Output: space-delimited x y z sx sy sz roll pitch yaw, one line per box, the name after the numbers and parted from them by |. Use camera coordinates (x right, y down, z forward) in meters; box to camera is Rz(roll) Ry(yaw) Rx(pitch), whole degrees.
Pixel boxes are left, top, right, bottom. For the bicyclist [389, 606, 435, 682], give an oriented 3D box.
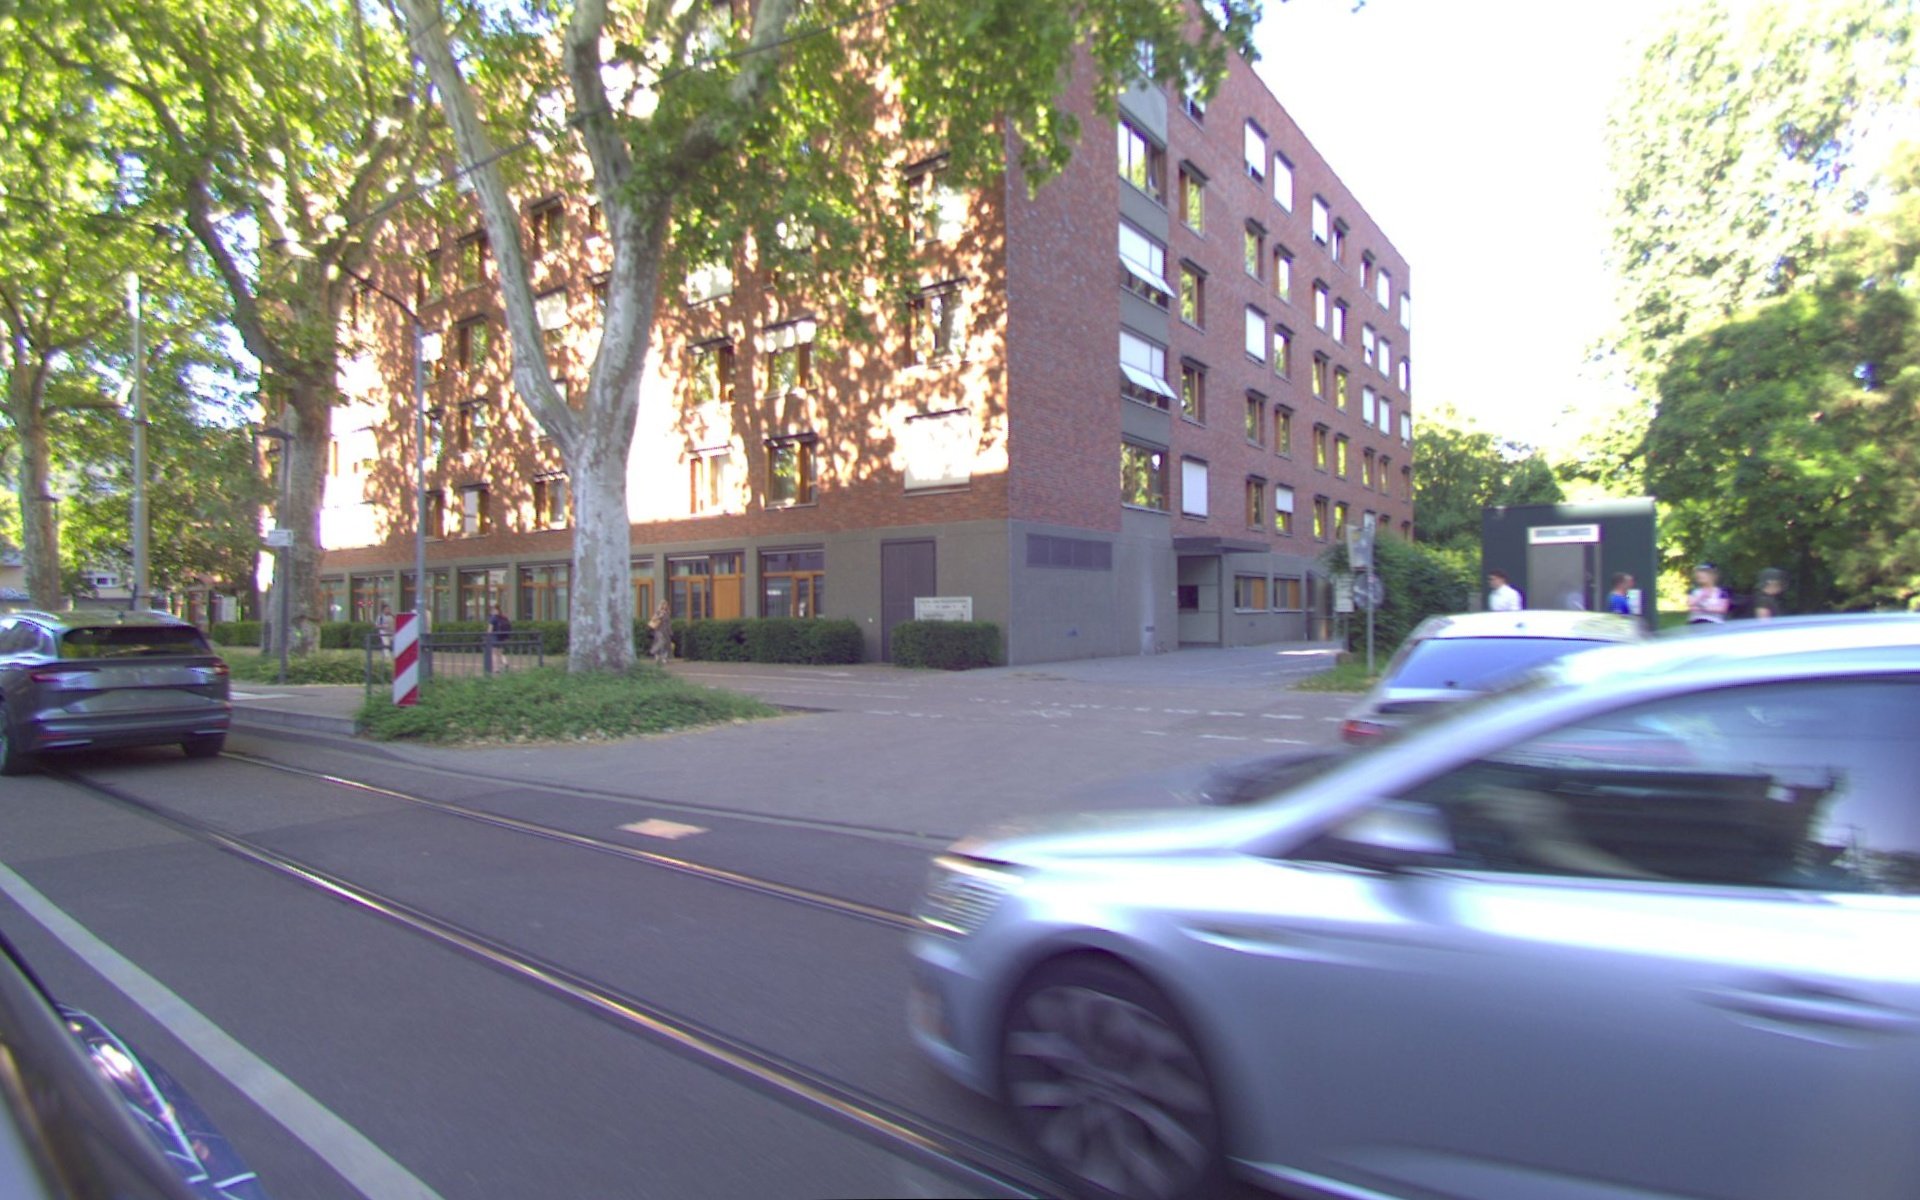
-13.313 1.059 24.581 0.838 1.801 0.693 -1 0 38 | bicyclist

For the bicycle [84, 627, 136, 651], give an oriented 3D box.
-46.009 2.120 54.801 2.068 1.198 0.883 -1 0 -37 | bicycle

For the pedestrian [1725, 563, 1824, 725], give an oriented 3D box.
8.869 0.454 11.050 0.778 1.686 0.703 -1 0 36 | pedestrian

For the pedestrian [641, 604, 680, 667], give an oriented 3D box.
-7.792 0.919 26.331 0.714 1.585 0.658 -1 0 36 | pedestrian

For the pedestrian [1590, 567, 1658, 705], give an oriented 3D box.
8.313 0.434 12.692 0.559 1.671 0.691 -1 0 23 | pedestrian

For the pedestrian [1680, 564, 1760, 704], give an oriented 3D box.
9.549 0.419 12.734 0.585 1.718 0.532 -1 0 5 | pedestrian

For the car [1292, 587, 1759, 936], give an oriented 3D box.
3.936 0.676 6.818 1.950 1.471 4.723 -1 0 35 | car

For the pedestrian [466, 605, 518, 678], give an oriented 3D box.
-11.153 0.978 24.124 0.967 1.685 0.731 -1 0 38 | pedestrian

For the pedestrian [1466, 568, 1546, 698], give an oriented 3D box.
7.645 0.444 14.169 0.913 1.750 0.836 -1 0 32 | pedestrian

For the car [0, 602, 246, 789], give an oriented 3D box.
-9.662 0.897 11.008 4.314 1.650 1.890 -1 -2 37 | car

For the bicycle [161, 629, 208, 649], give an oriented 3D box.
-43.900 2.204 57.326 2.009 1.102 0.822 -1 0 -1 | bicycle

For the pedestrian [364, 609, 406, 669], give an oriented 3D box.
-17.535 1.175 30.862 0.970 1.757 0.757 -1 0 37 | pedestrian

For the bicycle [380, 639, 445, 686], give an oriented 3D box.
-13.315 1.499 24.583 1.837 1.071 0.708 -1 0 38 | bicycle

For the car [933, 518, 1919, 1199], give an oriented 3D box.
2.116 0.623 2.163 4.197 1.472 1.759 -1 -2 37 | car
